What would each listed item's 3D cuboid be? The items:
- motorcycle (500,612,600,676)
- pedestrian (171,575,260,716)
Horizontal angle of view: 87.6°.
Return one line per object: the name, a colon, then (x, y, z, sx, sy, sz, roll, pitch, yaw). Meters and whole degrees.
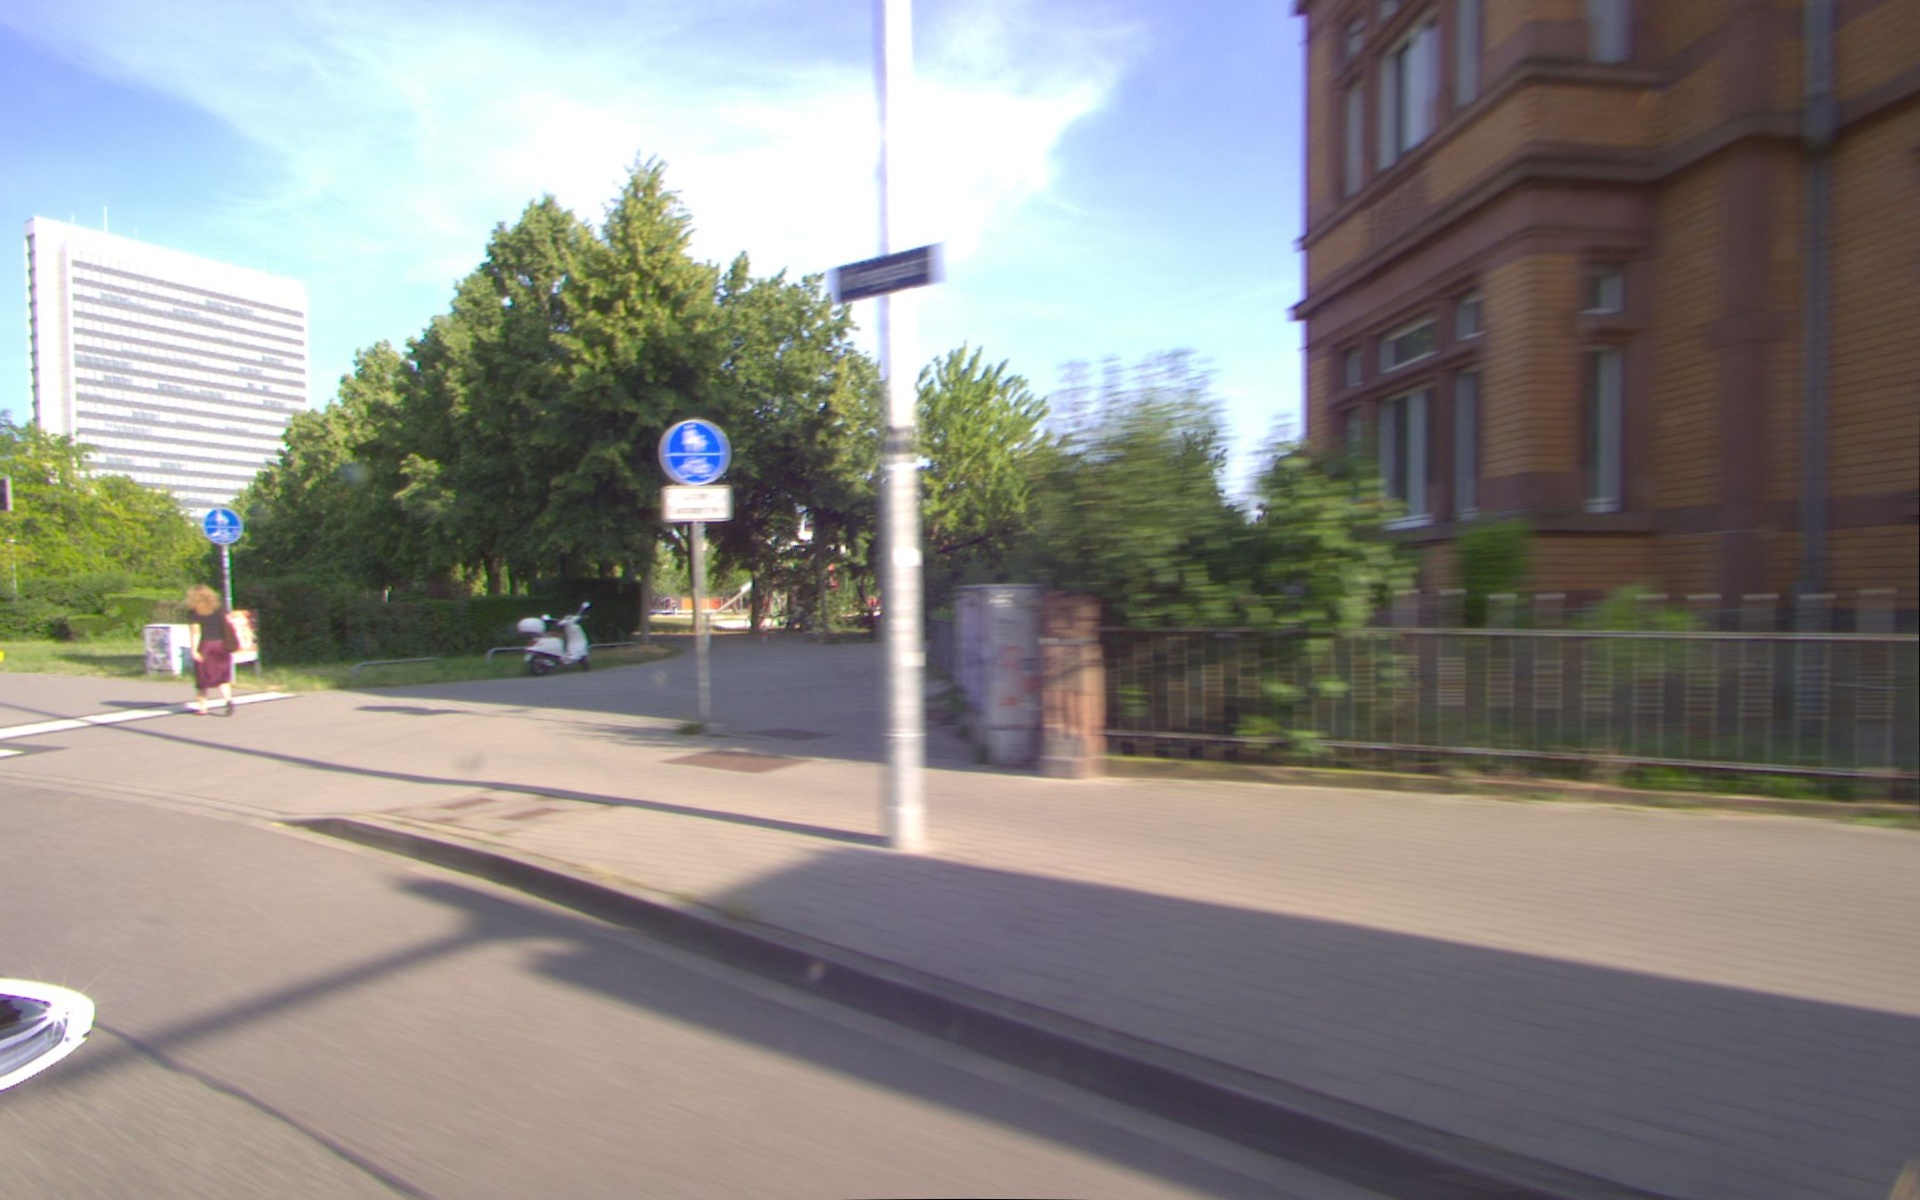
motorcycle: (-8.039, 0.839, 19.742, 0.695, 1.175, 1.999, 1, 0, 18)
pedestrian: (-9.515, 0.561, 12.813, 0.540, 1.716, 0.614, 1, 6, 28)
